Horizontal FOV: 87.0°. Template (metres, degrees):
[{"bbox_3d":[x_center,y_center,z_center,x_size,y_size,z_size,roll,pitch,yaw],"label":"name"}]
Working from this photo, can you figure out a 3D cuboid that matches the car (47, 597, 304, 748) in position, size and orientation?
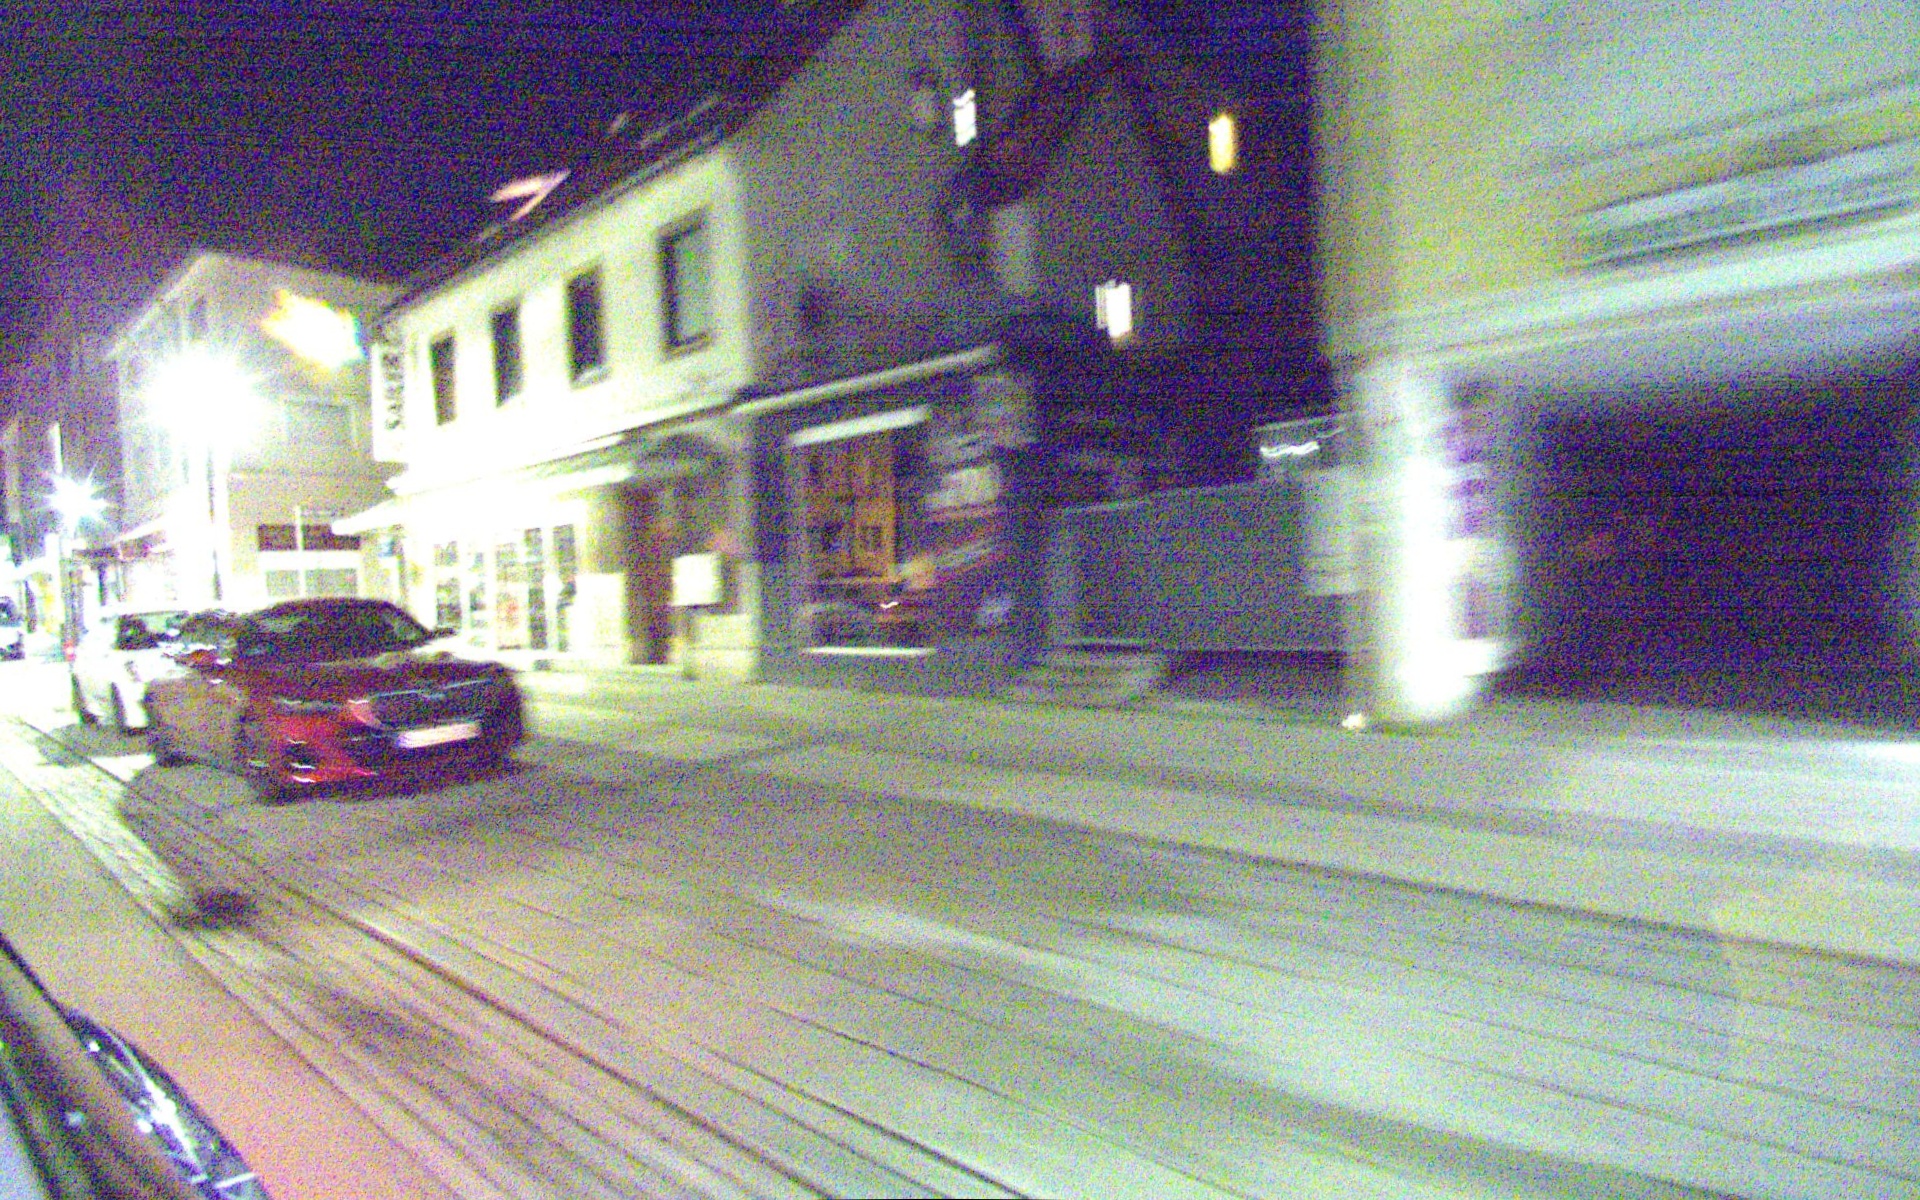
[{"bbox_3d":[-9.733,0.792,12.462,3.844,1.487,1.711,-1,2,41],"label":"car"}]

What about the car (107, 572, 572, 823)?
[{"bbox_3d":[-5.694,0.662,8.967,5.005,1.498,1.999,-1,4,41],"label":"car"}]

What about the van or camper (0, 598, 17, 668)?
[{"bbox_3d":[-29.460,1.014,30.199,1.824,1.956,5.159,-4,2,-43],"label":"van or camper"}]

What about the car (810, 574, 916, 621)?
[{"bbox_3d":[-3.875,-0.123,40.900,1.999,1.660,3.947,-4,0,40],"label":"car"}]

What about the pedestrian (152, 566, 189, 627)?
[{"bbox_3d":[-23.570,-0.108,30.207,1.022,1.758,0.614,-1,2,42],"label":"pedestrian"}]
